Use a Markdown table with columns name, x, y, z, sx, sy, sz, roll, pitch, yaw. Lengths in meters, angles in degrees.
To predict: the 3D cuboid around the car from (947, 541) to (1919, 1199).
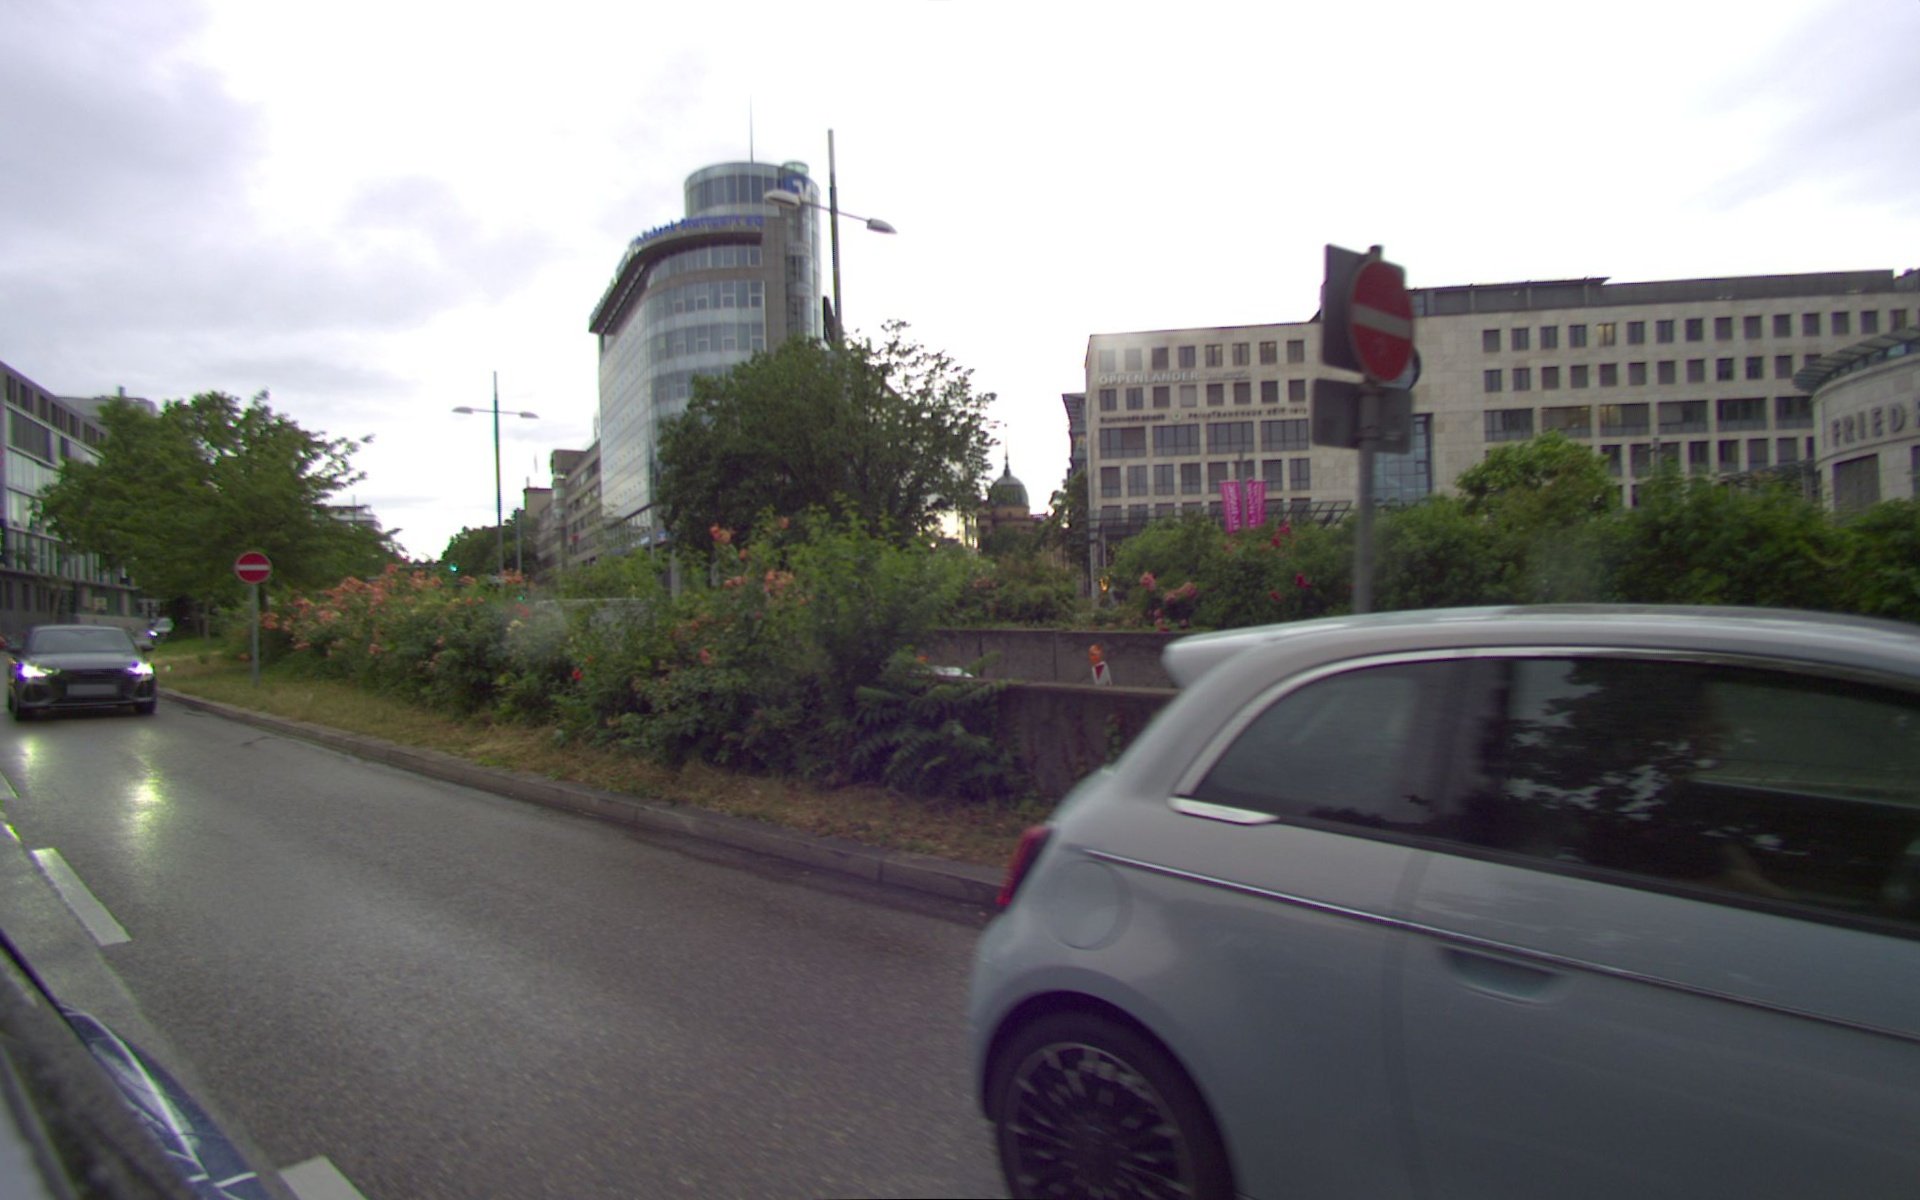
| name | x | y | z | sx | sy | sz | roll | pitch | yaw |
| --- | --- | --- | --- | --- | --- | --- | --- | --- | --- |
| car | 1.804 | 0.689 | 1.878 | 3.502 | 1.502 | 1.574 | -2 | -2 | 40 |

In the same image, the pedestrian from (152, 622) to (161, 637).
| name | x | y | z | sx | sy | sz | roll | pitch | yaw |
| --- | --- | --- | --- | --- | --- | --- | --- | --- | --- |
| pedestrian | -103.841 | 3.792 | 130.818 | 0.711 | 1.844 | 0.749 | 0 | -1 | -29 |

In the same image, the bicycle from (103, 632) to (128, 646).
| name | x | y | z | sx | sy | sz | roll | pitch | yaw |
| --- | --- | --- | --- | --- | --- | --- | --- | --- | --- |
| bicycle | -76.238 | 3.511 | 91.356 | 1.706 | 1.192 | 0.691 | 0 | -1 | -33 |

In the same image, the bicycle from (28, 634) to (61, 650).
| name | x | y | z | sx | sy | sz | roll | pitch | yaw |
| --- | --- | --- | --- | --- | --- | --- | --- | --- | --- |
| bicycle | -69.144 | 3.158 | 76.438 | 1.770 | 1.076 | 0.558 | -3 | 2 | -31 |

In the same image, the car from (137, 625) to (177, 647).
| name | x | y | z | sx | sy | sz | roll | pitch | yaw |
| --- | --- | --- | --- | --- | --- | --- | --- | --- | --- |
| car | -61.025 | 2.687 | 77.008 | 1.769 | 1.521 | 4.513 | -2 | 0 | -31 |

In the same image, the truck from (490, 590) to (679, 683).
| name | x | y | z | sx | sy | sz | roll | pitch | yaw |
| --- | --- | --- | --- | --- | --- | --- | --- | --- | --- |
| truck | -12.251 | 1.085 | 32.414 | 3.323 | 2.529 | 8.494 | -1 | 0 | -37 |

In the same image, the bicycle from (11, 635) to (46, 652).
| name | x | y | z | sx | sy | sz | roll | pitch | yaw |
| --- | --- | --- | --- | --- | --- | --- | --- | --- | --- |
| bicycle | -68.184 | 3.155 | 74.110 | 1.770 | 1.116 | 0.672 | -3 | 2 | -32 |

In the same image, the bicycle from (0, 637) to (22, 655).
| name | x | y | z | sx | sy | sz | roll | pitch | yaw |
| --- | --- | --- | --- | --- | --- | --- | --- | --- | --- |
| bicycle | -65.734 | 3.164 | 69.533 | 1.770 | 1.116 | 0.672 | -3 | 2 | -32 |

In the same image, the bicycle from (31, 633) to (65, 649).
| name | x | y | z | sx | sy | sz | roll | pitch | yaw |
| --- | --- | --- | --- | --- | --- | --- | --- | --- | --- |
| bicycle | -69.469 | 3.148 | 77.090 | 1.770 | 1.076 | 0.558 | -3 | 2 | -31 |

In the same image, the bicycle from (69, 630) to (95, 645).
| name | x | y | z | sx | sy | sz | roll | pitch | yaw |
| --- | --- | --- | --- | --- | --- | --- | --- | --- | --- |
| bicycle | -72.094 | 3.094 | 83.090 | 1.513 | 1.149 | 0.691 | -1 | 1 | -33 |

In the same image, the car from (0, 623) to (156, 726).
| name | x | y | z | sx | sy | sz | roll | pitch | yaw |
| --- | --- | --- | --- | --- | --- | --- | --- | --- | --- |
| car | -15.704 | 1.219 | 17.927 | 1.839 | 1.529 | 4.348 | -1 | 0 | -44 |

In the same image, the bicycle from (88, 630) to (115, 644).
| name | x | y | z | sx | sy | sz | roll | pitch | yaw |
| --- | --- | --- | --- | --- | --- | --- | --- | --- | --- |
| bicycle | -74.079 | 3.192 | 87.351 | 1.706 | 1.149 | 0.691 | 0 | -1 | -33 |

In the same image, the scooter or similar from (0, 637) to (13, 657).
| name | x | y | z | sx | sy | sz | roll | pitch | yaw |
| --- | --- | --- | --- | --- | --- | --- | --- | --- | --- |
| scooter or similar | -64.877 | 3.186 | 67.955 | 1.767 | 1.252 | 0.598 | -3 | 2 | -32 |

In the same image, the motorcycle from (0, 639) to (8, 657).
| name | x | y | z | sx | sy | sz | roll | pitch | yaw |
| --- | --- | --- | --- | --- | --- | --- | --- | --- | --- |
| motorcycle | -64.281 | 3.240 | 66.978 | 1.768 | 1.148 | 0.598 | -3 | 2 | -32 |

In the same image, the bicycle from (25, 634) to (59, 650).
| name | x | y | z | sx | sy | sz | roll | pitch | yaw |
| --- | --- | --- | --- | --- | --- | --- | --- | --- | --- |
| bicycle | -68.790 | 3.164 | 75.838 | 1.770 | 1.076 | 0.558 | -3 | 2 | -31 |

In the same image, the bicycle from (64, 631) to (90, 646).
| name | x | y | z | sx | sy | sz | roll | pitch | yaw |
| --- | --- | --- | --- | --- | --- | --- | --- | --- | --- |
| bicycle | -71.872 | 3.100 | 82.379 | 1.513 | 1.149 | 0.664 | -1 | 1 | -33 |

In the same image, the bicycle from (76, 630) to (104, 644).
| name | x | y | z | sx | sy | sz | roll | pitch | yaw |
| --- | --- | --- | --- | --- | --- | --- | --- | --- | --- |
| bicycle | -72.713 | 3.086 | 84.570 | 1.682 | 1.149 | 0.691 | -1 | 1 | -33 |

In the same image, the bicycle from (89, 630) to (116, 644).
| name | x | y | z | sx | sy | sz | roll | pitch | yaw |
| --- | --- | --- | --- | --- | --- | --- | --- | --- | --- |
| bicycle | -74.660 | 3.208 | 88.090 | 1.706 | 1.149 | 0.691 | 0 | -1 | -33 |

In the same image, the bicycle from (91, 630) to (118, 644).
| name | x | y | z | sx | sy | sz | roll | pitch | yaw |
| --- | --- | --- | --- | --- | --- | --- | --- | --- | --- |
| bicycle | -75.025 | 3.207 | 88.786 | 1.706 | 1.192 | 0.691 | 0 | -1 | -33 |
